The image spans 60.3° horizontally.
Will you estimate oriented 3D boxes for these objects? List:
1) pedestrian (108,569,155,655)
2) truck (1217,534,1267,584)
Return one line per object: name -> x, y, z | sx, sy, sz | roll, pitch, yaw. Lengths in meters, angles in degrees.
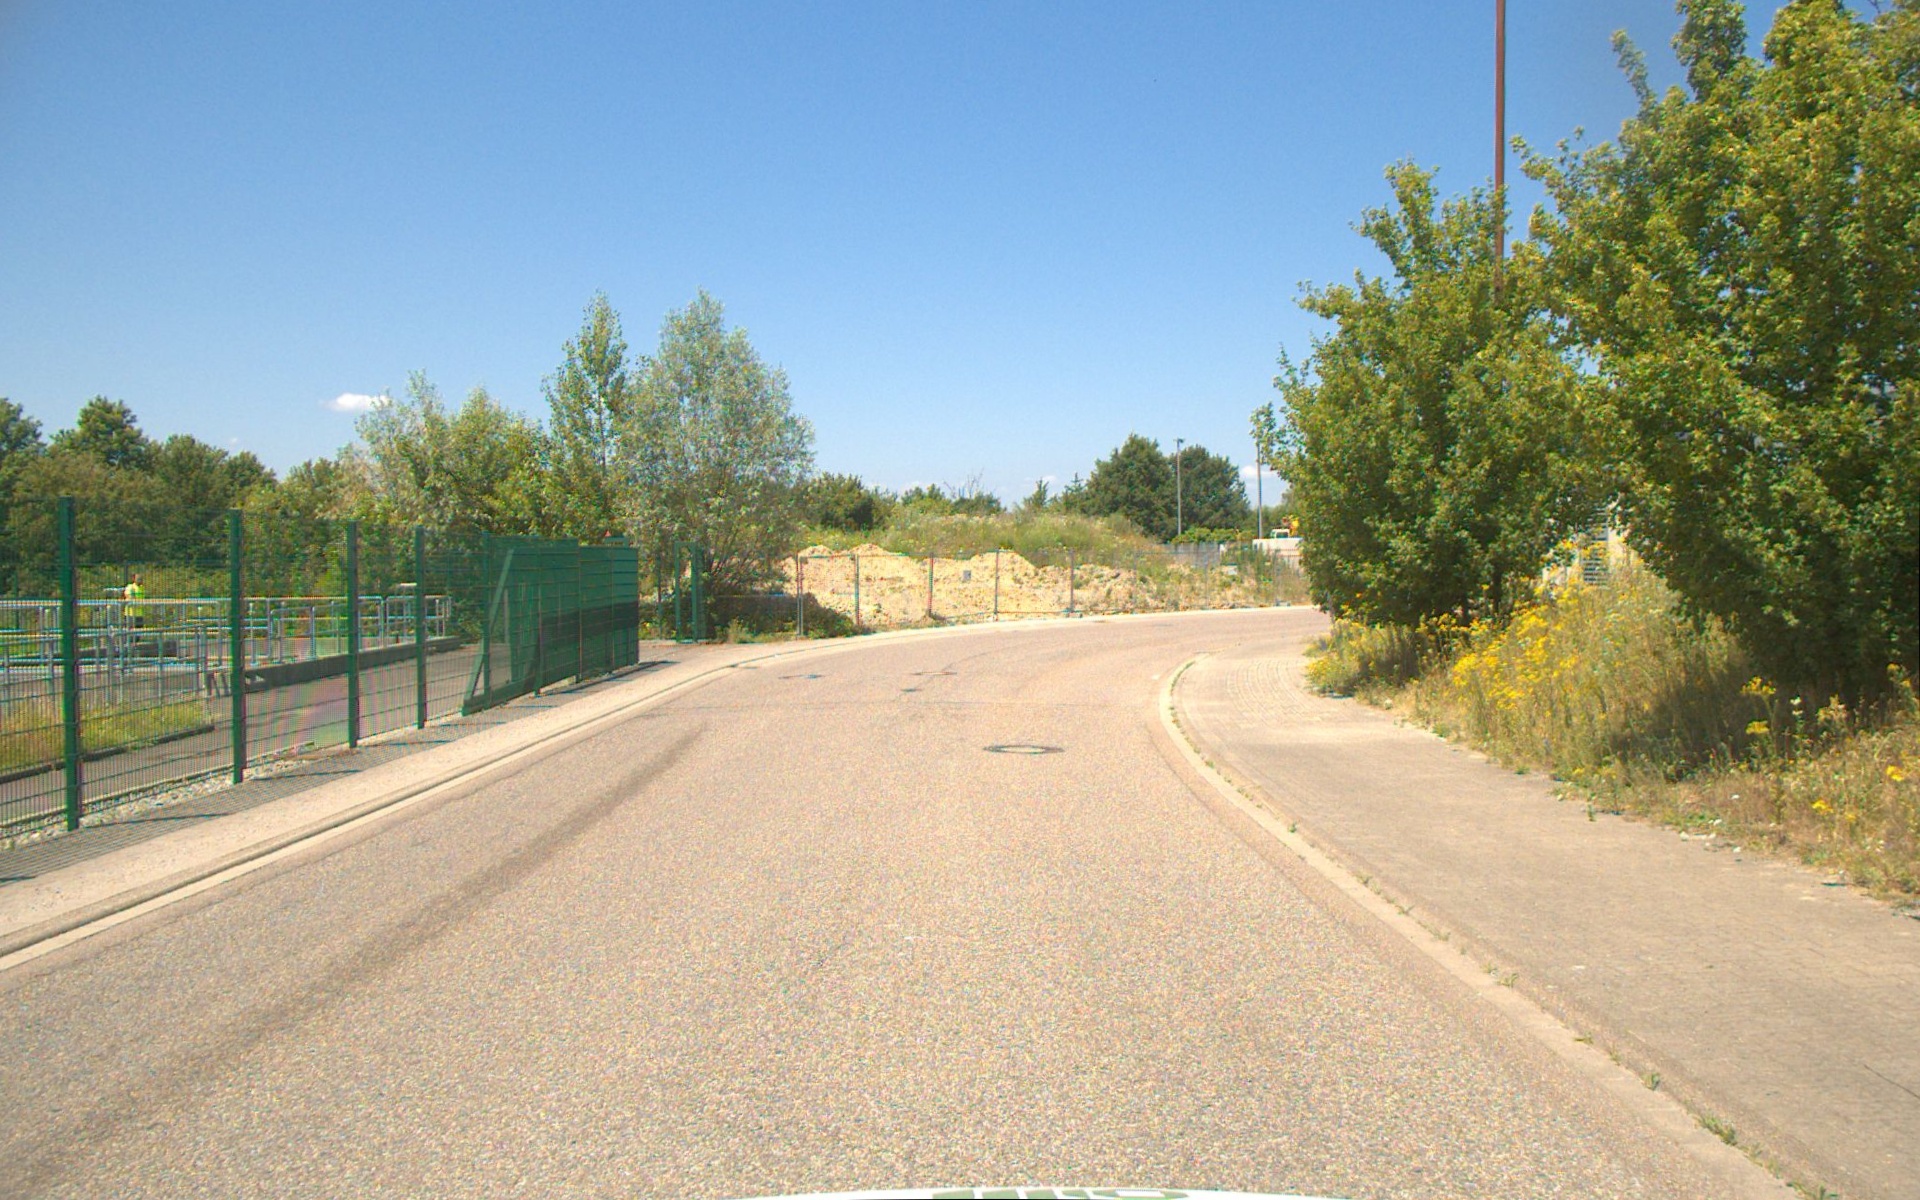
pedestrian -> -18.334, 0.267, 36.603 | 0.593, 1.871, 0.804 | -2, 0, -2
truck -> 18.149, -2.586, 106.511 | 1.955, 3.036, 4.640 | -2, 0, -6
